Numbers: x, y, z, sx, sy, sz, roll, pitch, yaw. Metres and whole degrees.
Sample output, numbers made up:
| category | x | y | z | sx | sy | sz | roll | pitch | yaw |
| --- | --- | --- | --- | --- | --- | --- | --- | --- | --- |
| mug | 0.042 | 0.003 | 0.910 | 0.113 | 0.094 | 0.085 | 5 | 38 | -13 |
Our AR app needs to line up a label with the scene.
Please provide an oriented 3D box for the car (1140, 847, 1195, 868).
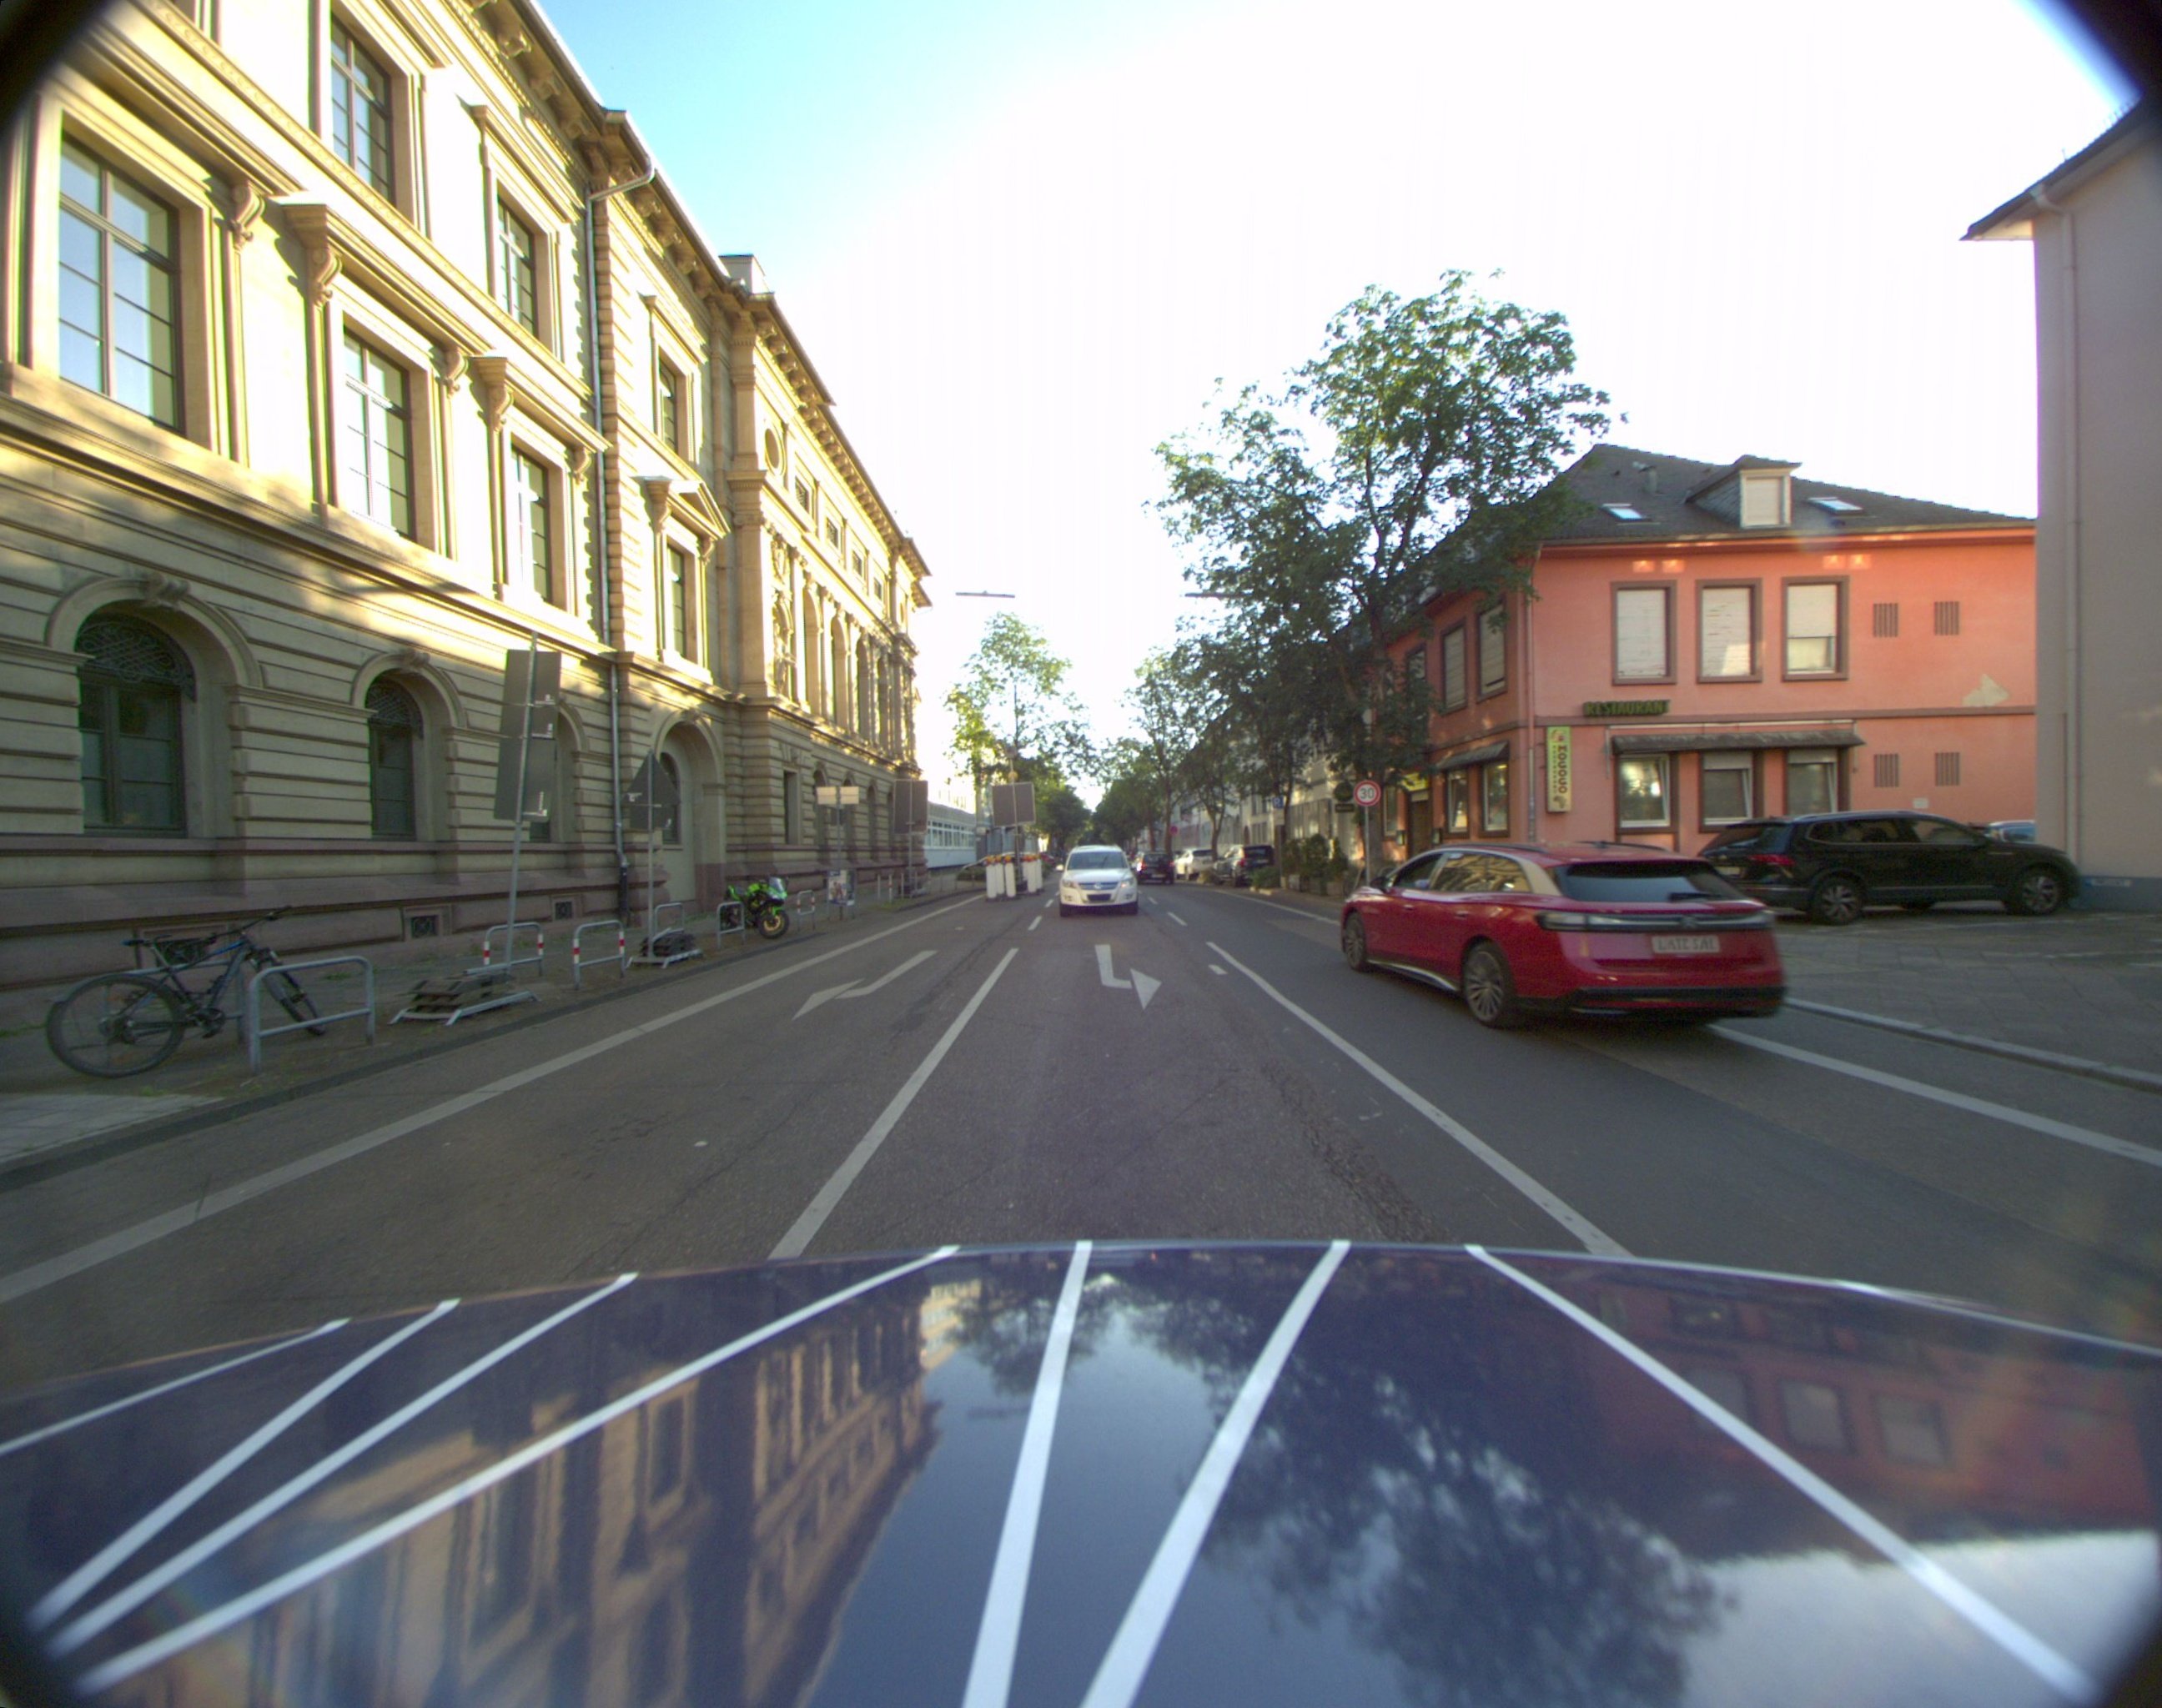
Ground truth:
| category | x | y | z | sx | sy | sz | roll | pitch | yaw |
| --- | --- | --- | --- | --- | --- | --- | --- | --- | --- |
| car | 6.809 | 0.295 | 60.058 | 4.228 | 1.536 | 1.801 | -1 | 1 | 3 |

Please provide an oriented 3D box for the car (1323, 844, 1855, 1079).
| category | x | y | z | sx | sy | sz | roll | pitch | yaw |
| --- | --- | --- | --- | --- | --- | --- | --- | --- | --- |
| car | 4.150 | 0.705 | 7.447 | 1.836 | 1.536 | 4.846 | 0 | 0 | -2 |

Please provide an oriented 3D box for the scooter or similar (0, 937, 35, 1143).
| category | x | y | z | sx | sy | sz | roll | pitch | yaw |
| --- | --- | --- | --- | --- | --- | --- | --- | --- | --- |
| scooter or similar | -6.979 | 1.110 | 4.502 | 1.131 | 1.188 | 0.584 | 1 | 2 | 19 |

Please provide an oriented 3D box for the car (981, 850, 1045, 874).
| category | x | y | z | sx | sy | sz | roll | pitch | yaw |
| --- | --- | --- | --- | --- | --- | --- | --- | --- | --- |
| car | -4.790 | 0.536 | 53.971 | 4.369 | 1.633 | 2.054 | 1 | 1 | -2 |

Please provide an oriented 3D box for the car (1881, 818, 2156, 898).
| category | x | y | z | sx | sy | sz | roll | pitch | yaw |
| --- | --- | --- | --- | --- | --- | --- | --- | --- | --- |
| car | 20.473 | 0.073 | 16.728 | 3.809 | 1.547 | 1.886 | -2 | 1 | -2 |

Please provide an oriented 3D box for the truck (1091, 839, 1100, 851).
| category | x | y | z | sx | sy | sz | roll | pitch | yaw |
| --- | --- | --- | --- | --- | --- | --- | --- | --- | --- |
| truck | 4.843 | -2.901 | 248.883 | 2.748 | 3.723 | 7.854 | -1 | 1 | 2 |

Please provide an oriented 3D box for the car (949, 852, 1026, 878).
| category | x | y | z | sx | sy | sz | roll | pitch | yaw |
| --- | --- | --- | --- | --- | --- | --- | --- | --- | --- |
| car | -5.457 | 0.636 | 44.883 | 4.369 | 1.456 | 1.833 | 1 | 1 | -3 |

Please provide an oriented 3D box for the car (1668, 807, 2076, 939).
| category | x | y | z | sx | sy | sz | roll | pitch | yaw |
| --- | --- | --- | --- | --- | --- | --- | --- | --- | --- |
| car | 12.132 | 0.273 | 11.888 | 4.429 | 1.655 | 1.863 | -3 | 1 | -1 |

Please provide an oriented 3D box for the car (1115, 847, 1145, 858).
| category | x | y | z | sx | sy | sz | roll | pitch | yaw |
| --- | --- | --- | --- | --- | --- | --- | --- | --- | --- |
| car | 7.115 | -0.225 | 110.654 | 4.230 | 1.468 | 1.853 | -1 | 1 | -2 |

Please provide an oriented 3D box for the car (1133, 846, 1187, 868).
| category | x | y | z | sx | sy | sz | roll | pitch | yaw |
| --- | --- | --- | --- | --- | --- | --- | --- | --- | --- |
| car | 6.515 | 0.217 | 62.794 | 4.230 | 1.680 | 1.800 | -1 | 1 | -2 |

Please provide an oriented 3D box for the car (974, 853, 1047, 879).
| category | x | y | z | sx | sy | sz | roll | pitch | yaw |
| --- | --- | --- | --- | --- | --- | --- | --- | --- | --- |
| car | -4.368 | 0.718 | 47.504 | 4.368 | 1.487 | 1.672 | 1 | 1 | 0 |

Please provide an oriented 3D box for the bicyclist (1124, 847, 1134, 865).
| category | x | y | z | sx | sy | sz | roll | pitch | yaw |
| --- | --- | --- | --- | --- | --- | --- | --- | --- | --- |
| bicyclist | 3.667 | 0.171 | 58.342 | 0.626 | 1.357 | 0.928 | -2 | 2 | -1 |

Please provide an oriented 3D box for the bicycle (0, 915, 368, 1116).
| category | x | y | z | sx | sy | sz | roll | pitch | yaw |
| --- | --- | --- | --- | --- | --- | --- | --- | --- | --- |
| bicycle | -6.908 | 1.136 | 5.934 | 0.829 | 1.128 | 1.944 | 1 | 1 | 1 |

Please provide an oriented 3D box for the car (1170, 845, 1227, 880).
| category | x | y | z | sx | sy | sz | roll | pitch | yaw |
| --- | --- | --- | --- | --- | --- | --- | --- | --- | --- |
| car | 6.285 | 0.406 | 41.320 | 1.833 | 1.659 | 4.653 | -5 | 1 | -5 |

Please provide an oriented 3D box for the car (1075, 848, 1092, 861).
| category | x | y | z | sx | sy | sz | roll | pitch | yaw |
| --- | --- | --- | --- | --- | --- | --- | --- | --- | --- |
| car | 0.301 | 0.030 | 91.241 | 1.951 | 1.546 | 3.999 | -1 | 0 | -1 |

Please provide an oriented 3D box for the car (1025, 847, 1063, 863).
| category | x | y | z | sx | sy | sz | roll | pitch | yaw |
| --- | --- | --- | --- | --- | --- | --- | --- | --- | --- |
| car | -4.261 | 0.105 | 87.809 | 4.369 | 1.768 | 1.733 | 0 | 1 | -2 |

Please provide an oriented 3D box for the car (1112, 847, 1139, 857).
| category | x | y | z | sx | sy | sz | roll | pitch | yaw |
| --- | --- | --- | --- | --- | --- | --- | --- | --- | --- |
| car | 7.240 | -0.350 | 123.125 | 4.230 | 1.468 | 1.969 | -1 | 1 | -2 |

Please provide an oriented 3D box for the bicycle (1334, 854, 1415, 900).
| category | x | y | z | sx | sy | sz | roll | pitch | yaw |
| --- | --- | --- | --- | --- | --- | --- | --- | --- | --- |
| bicycle | 7.624 | 0.582 | 19.754 | 1.872 | 1.098 | 0.610 | -2 | 1 | -6 |

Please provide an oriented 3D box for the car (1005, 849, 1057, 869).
| category | x | y | z | sx | sy | sz | roll | pitch | yaw |
| --- | --- | --- | --- | --- | --- | --- | --- | --- | --- |
| car | -4.272 | 0.395 | 64.890 | 4.369 | 1.615 | 1.733 | 1 | 1 | -2 |

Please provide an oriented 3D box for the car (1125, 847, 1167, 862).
| category | x | y | z | sx | sy | sz | roll | pitch | yaw |
| --- | --- | --- | --- | --- | --- | --- | --- | --- | --- |
| car | 6.939 | 0.057 | 80.973 | 4.230 | 1.499 | 1.800 | -1 | 1 | -2 |

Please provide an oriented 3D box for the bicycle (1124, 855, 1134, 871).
| category | x | y | z | sx | sy | sz | roll | pitch | yaw |
| --- | --- | --- | --- | --- | --- | --- | --- | --- | --- |
| bicycle | 3.690 | 0.700 | 58.445 | 0.626 | 1.149 | 2.051 | -2 | 2 | -1 |

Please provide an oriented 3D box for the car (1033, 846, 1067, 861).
| category | x | y | z | sx | sy | sz | roll | pitch | yaw |
| --- | --- | --- | --- | --- | --- | --- | --- | --- | --- |
| car | -4.029 | -0.068 | 99.448 | 4.368 | 1.863 | 1.733 | 0 | 1 | -2 |

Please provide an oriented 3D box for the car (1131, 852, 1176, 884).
| category | x | y | z | sx | sy | sz | roll | pitch | yaw |
| --- | --- | --- | --- | --- | --- | --- | --- | --- | --- |
| car | 3.385 | 0.638 | 36.081 | 1.662 | 1.463 | 3.853 | -1 | 0 | -2 |

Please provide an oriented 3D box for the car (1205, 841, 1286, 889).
| category | x | y | z | sx | sy | sz | roll | pitch | yaw |
| --- | --- | --- | --- | --- | --- | --- | --- | --- | --- |
| car | 6.985 | 0.421 | 32.868 | 1.833 | 1.749 | 5.045 | -5 | 1 | -5 |

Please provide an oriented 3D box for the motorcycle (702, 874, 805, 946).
| category | x | y | z | sx | sy | sz | roll | pitch | yaw |
| --- | --- | --- | --- | --- | --- | --- | --- | --- | --- |
| motorcycle | -6.303 | 1.035 | 14.574 | 2.098 | 1.208 | 0.711 | 1 | 1 | 30 |

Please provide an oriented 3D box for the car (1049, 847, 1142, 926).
| category | x | y | z | sx | sy | sz | roll | pitch | yaw |
| --- | --- | --- | --- | --- | --- | --- | --- | --- | --- |
| car | 0.352 | 0.686 | 18.688 | 1.957 | 1.667 | 4.542 | -1 | 1 | 1 |
